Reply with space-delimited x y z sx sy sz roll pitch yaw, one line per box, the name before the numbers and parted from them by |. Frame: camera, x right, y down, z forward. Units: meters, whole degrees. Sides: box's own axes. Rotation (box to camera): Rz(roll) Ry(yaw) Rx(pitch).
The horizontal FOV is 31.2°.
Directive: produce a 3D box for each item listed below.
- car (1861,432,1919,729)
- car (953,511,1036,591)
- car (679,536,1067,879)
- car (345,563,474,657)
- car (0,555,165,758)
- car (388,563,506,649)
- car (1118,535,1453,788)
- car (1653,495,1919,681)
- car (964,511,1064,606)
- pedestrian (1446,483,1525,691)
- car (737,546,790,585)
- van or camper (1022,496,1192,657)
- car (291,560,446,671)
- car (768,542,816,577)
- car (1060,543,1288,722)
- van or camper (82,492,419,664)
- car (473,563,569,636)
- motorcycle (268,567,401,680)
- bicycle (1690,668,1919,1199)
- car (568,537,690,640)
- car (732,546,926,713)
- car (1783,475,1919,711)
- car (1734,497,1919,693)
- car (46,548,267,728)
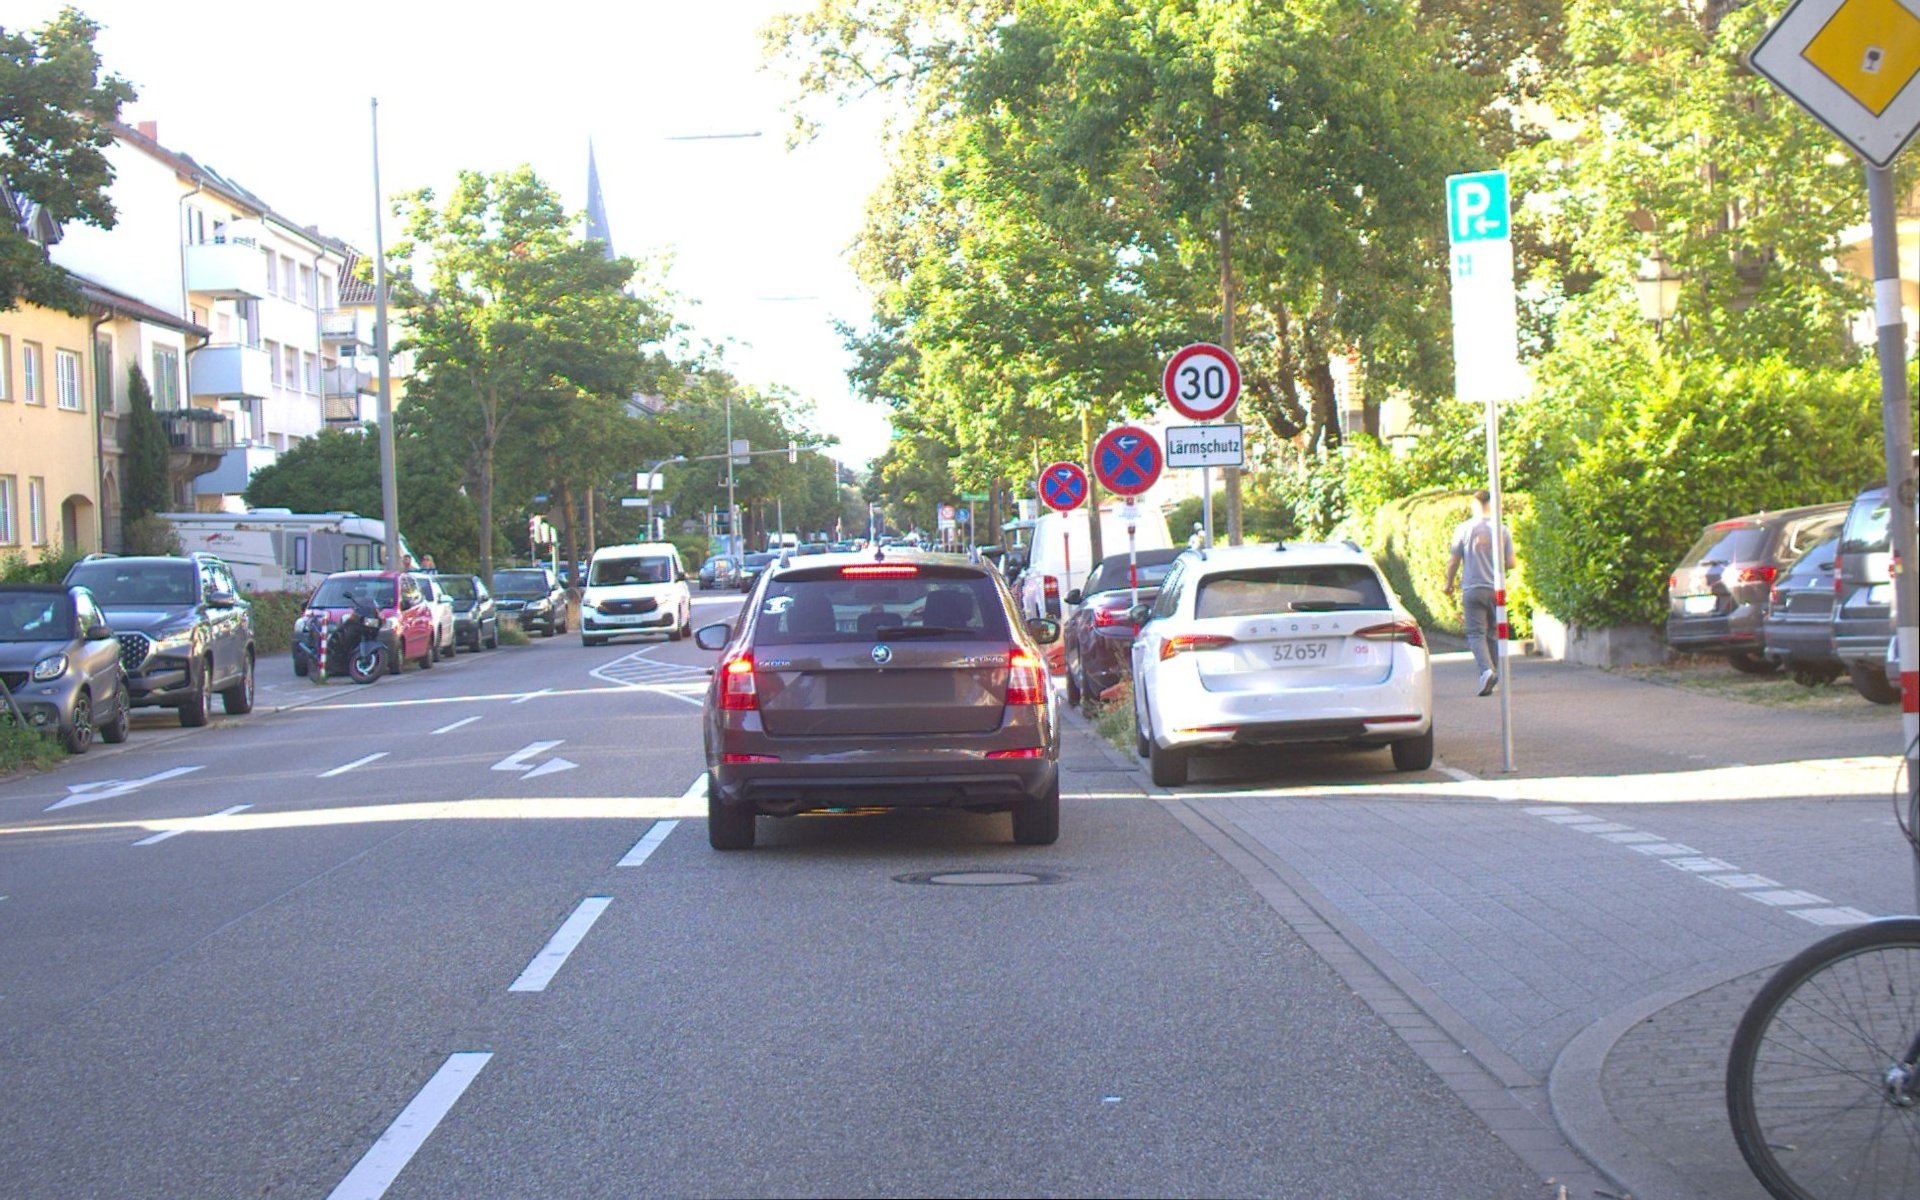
car | 8.309 -0.223 22.487 4.533 1.886 1.915 -3 1 -28
car | 0.799 -1.186 82.153 1.729 1.809 3.951 -2 1 -2
car | -0.411 0.458 17.765 1.729 1.488 3.951 -2 1 0
car | -9.253 0.147 57.955 1.664 1.427 3.275 -2 1 -1
car | -8.771 0.502 32.306 1.750 1.734 3.591 -2 1 -1
car | -9.306 0.087 62.499 1.664 1.427 3.275 -2 1 -1
car | 2.027 0.329 22.484 1.821 1.408 4.111 -2 1 1
car | 8.231 -0.158 30.610 3.799 1.520 1.512 -3 1 -22
car | 1.068 -0.873 69.665 1.729 1.809 3.951 -2 1 -2
pedestrian | 4.601 -0.120 30.114 0.535 1.788 0.687 -2 1 1
car | -8.037 -1.442 140.918 1.993 1.503 4.000 -2 1 -1
van or camper | 1.937 -0.356 46.378 1.993 2.006 4.000 -2 1 -1
car | -8.943 0.204 52.267 1.664 1.506 4.179 -2 1 -1
car | -7.541 -1.836 154.892 1.993 1.503 4.000 -2 1 -1
car | 1.860 0.240 30.969 1.821 1.408 4.111 -2 1 1
van or camper | -17.158 -0.553 83.413 7.639 3.861 2.000 -2 1 -2
car | -9.385 -0.027 73.666 1.664 1.427 3.275 -2 1 -1
motorcycle | -8.614 0.320 47.294 0.764 1.506 2.029 -3 2 -43
bicycle | 2.324 0.735 6.729 1.671 1.222 0.635 -4 1 12
car | -6.093 -0.240 63.742 1.876 1.751 4.179 -2 1 -1
car | -1.371 0.247 34.628 1.729 1.488 3.951 -2 1 -5
car | 8.167 -0.135 25.870 3.800 1.673 1.512 -3 2 -30
car | 8.476 -0.112 28.490 3.799 1.520 1.512 -3 1 -22
car | -8.582 0.364 36.973 1.507 1.751 3.694 -2 1 -1
